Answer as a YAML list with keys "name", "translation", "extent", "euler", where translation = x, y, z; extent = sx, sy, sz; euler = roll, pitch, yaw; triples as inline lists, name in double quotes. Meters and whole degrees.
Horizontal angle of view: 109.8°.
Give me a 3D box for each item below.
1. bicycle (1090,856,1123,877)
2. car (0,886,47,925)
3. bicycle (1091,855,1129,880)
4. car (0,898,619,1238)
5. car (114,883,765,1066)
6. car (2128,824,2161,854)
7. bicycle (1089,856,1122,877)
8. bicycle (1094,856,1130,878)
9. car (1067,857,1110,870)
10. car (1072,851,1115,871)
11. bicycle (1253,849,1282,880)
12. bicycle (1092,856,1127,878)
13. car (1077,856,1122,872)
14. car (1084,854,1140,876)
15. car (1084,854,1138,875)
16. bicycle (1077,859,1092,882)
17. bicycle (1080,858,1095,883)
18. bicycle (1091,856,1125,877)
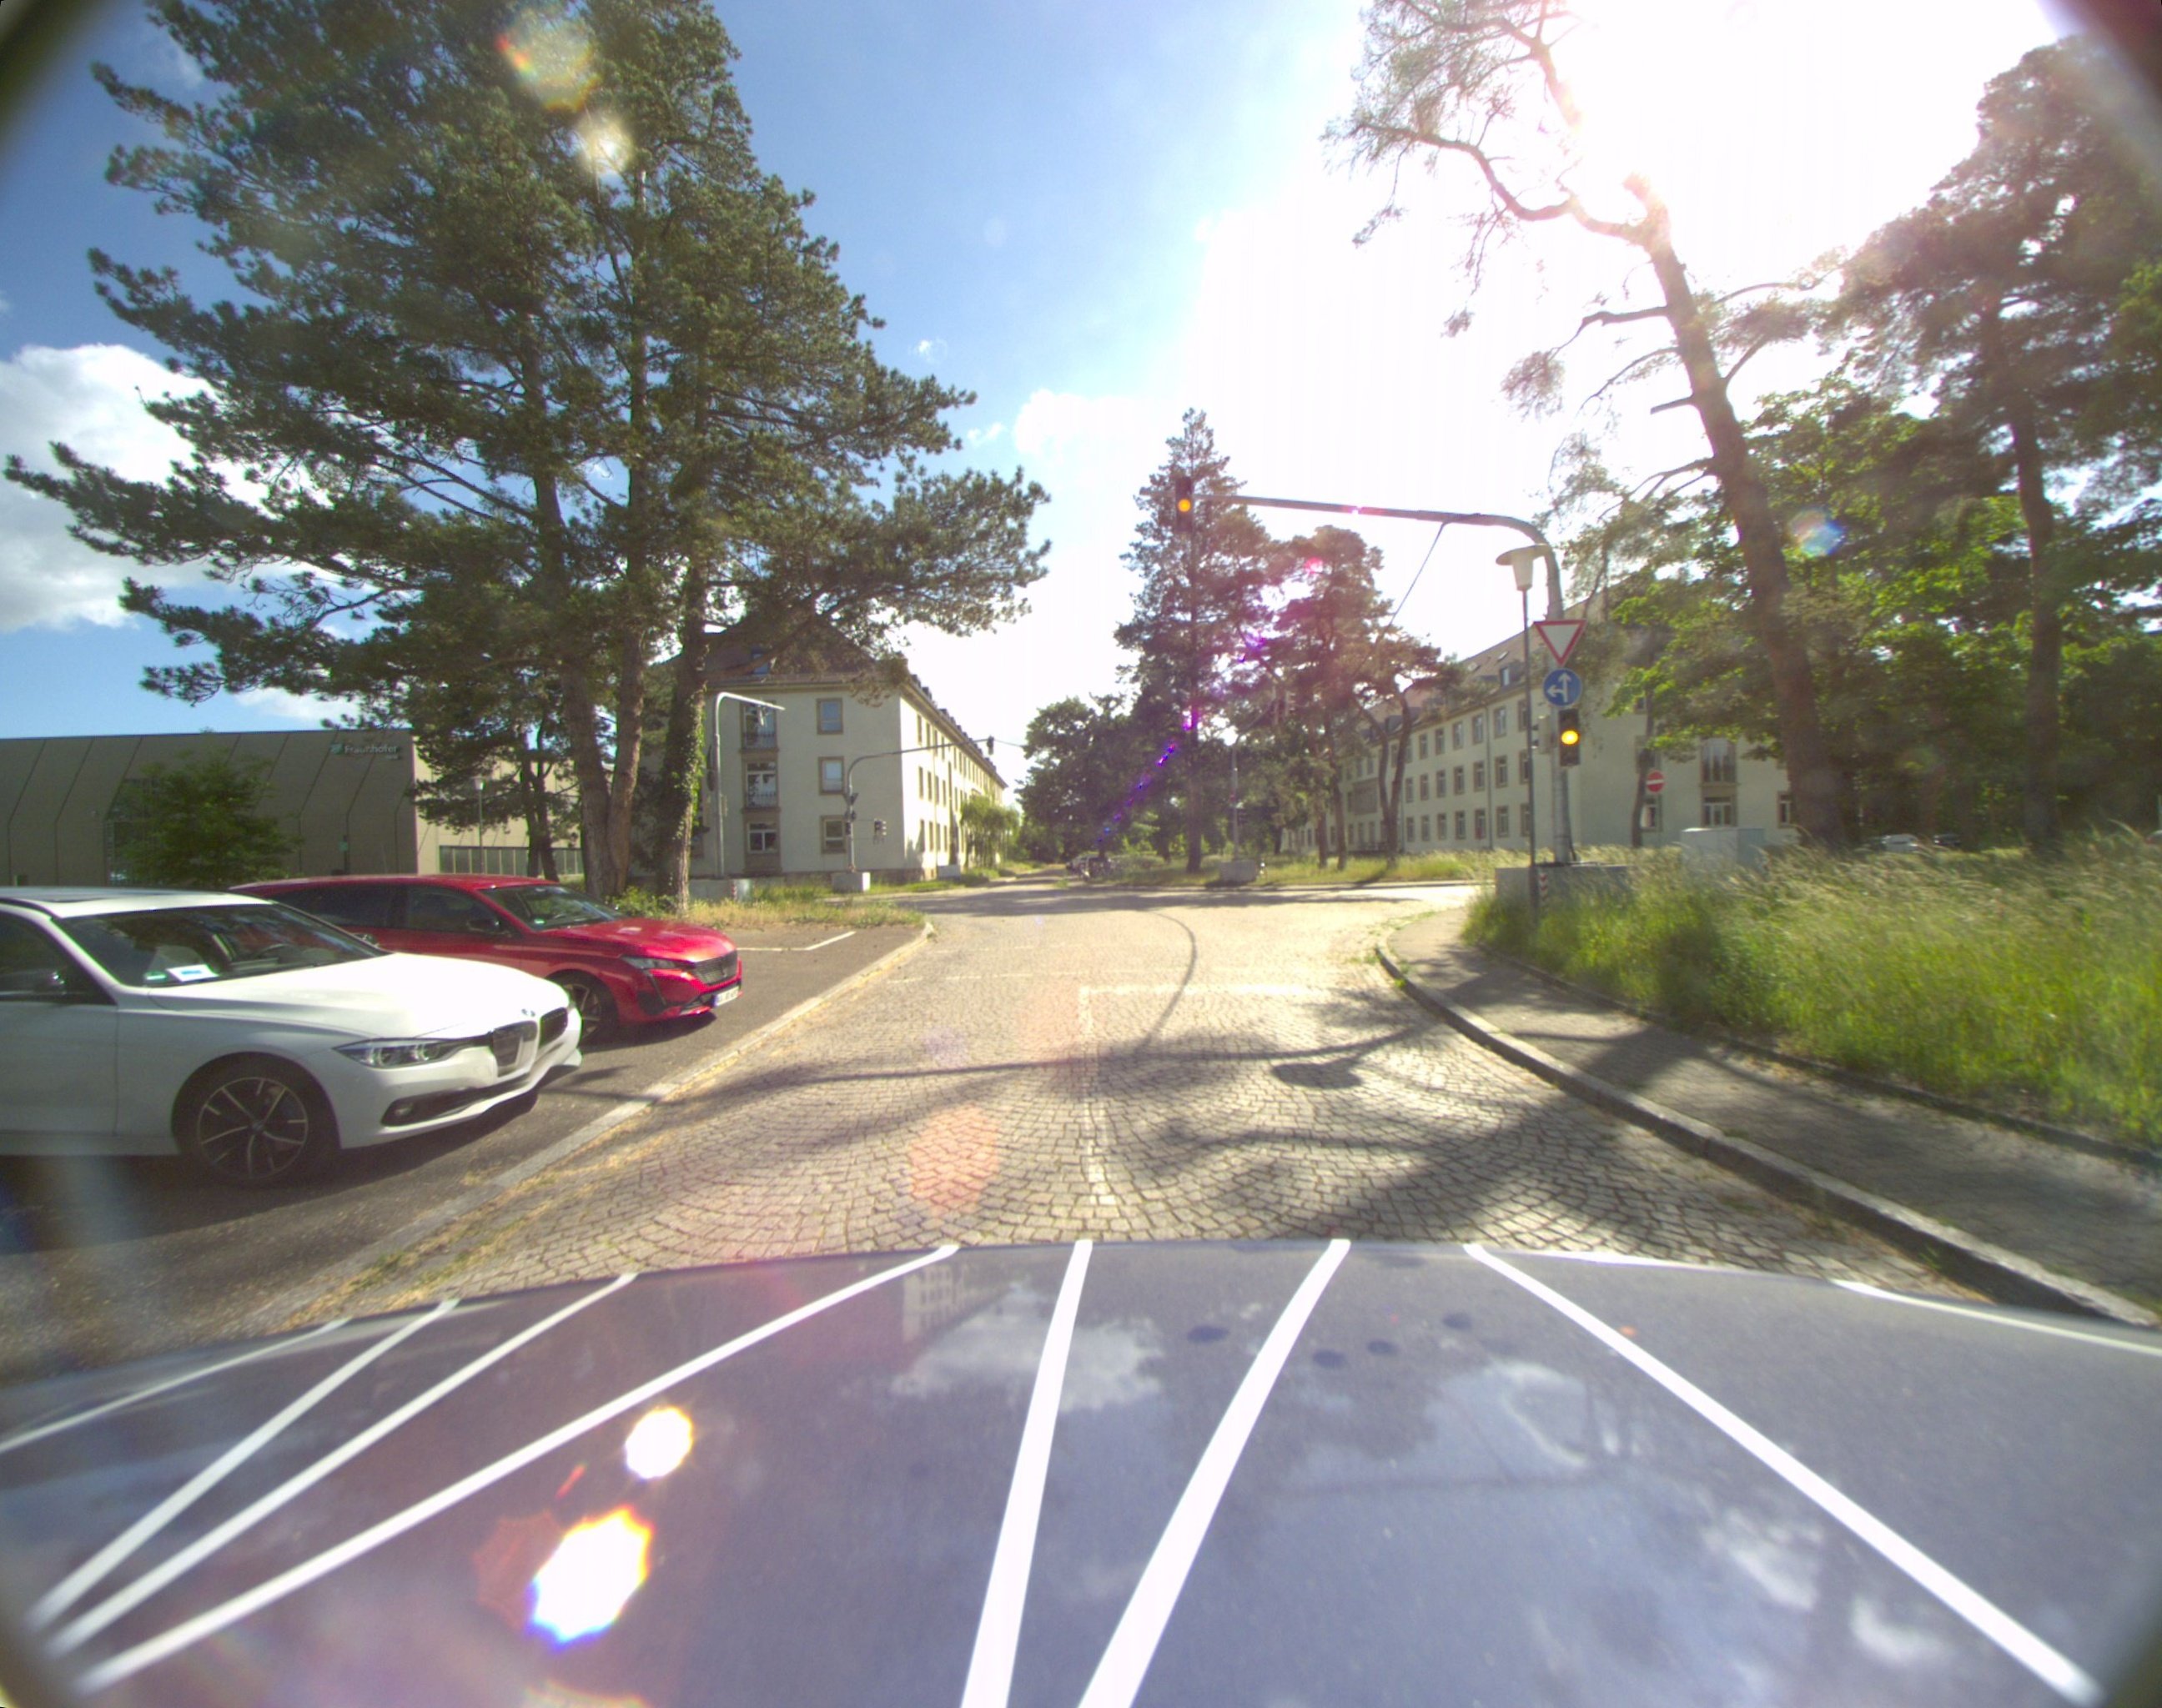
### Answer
- name: "bicycle"
  translation: [1.725, 0.828, 51.011]
  extent: [2.114, 1.276, 0.621]
  euler: [-4, 1, -5]
- name: "car"
  translation: [-48.189, 2.388, 32.610]
  extent: [1.860, 1.555, 4.058]
  euler: [-2, 3, 2]
- name: "bicycle"
  translation: [1.772, 0.815, 46.184]
  extent: [2.114, 1.276, 0.621]
  euler: [-7, 1, -3]
- name: "car"
  translation: [-5.550, 1.058, 4.439]
  extent: [4.525, 1.456, 1.838]
  euler: [0, 1, -3]
- name: "car"
  translation: [-5.684, 1.043, 7.251]
  extent: [4.549, 1.413, 1.894]
  euler: [1, 1, -1]
- name: "car"
  translation: [58.291, -0.843, 39.939]
  extent: [4.105, 1.571, 1.720]
  euler: [-1, 1, 1]
- name: "bicycle"
  translation: [1.655, 0.832, 51.854]
  extent: [2.114, 1.276, 0.621]
  euler: [-4, 1, -5]
- name: "bicycle"
  translation: [1.983, 0.828, 48.437]
  extent: [2.114, 1.276, 0.621]
  euler: [-4, 1, -7]
- name: "car"
  translation: [0.793, 0.972, 81.538]
  extent: [4.227, 1.294, 1.816]
  euler: [-1, 1, -10]
- name: "car"
  translation: [1.276, 0.677, 78.387]
  extent: [4.227, 1.903, 1.816]
  euler: [-1, 1, -10]
- name: "bicycle"
  translation: [8.250, 0.455, 33.670]
  extent: [0.621, 1.276, 2.114]
  euler: [-5, 0, -2]
- name: "bicycle"
  translation: [1.861, 0.837, 49.265]
  extent: [2.114, 1.276, 0.621]
  euler: [-4, 1, -6]
- name: "car"
  translation: [1.771, 0.955, 72.775]
  extent: [4.044, 1.355, 1.817]
  euler: [-1, 1, -7]
- name: "car"
  translation: [2.343, 0.830, 58.019]
  extent: [4.045, 1.493, 1.816]
  euler: [-1, 1, -8]
- name: "car"
  translation: [2.359, 0.840, 61.044]
  extent: [4.045, 1.514, 1.816]
  euler: [-1, 1, -8]
- name: "bicycle"
  translation: [0.186, 0.955, 45.006]
  extent: [0.621, 1.276, 2.114]
  euler: [-4, 1, -5]
- name: "bicycle"
  translation: [0.359, 0.908, 42.832]
  extent: [0.621, 1.342, 2.114]
  euler: [-4, 1, -5]
- name: "bicycle"
  translation: [1.783, 0.832, 50.108]
  extent: [2.114, 1.276, 0.621]
  euler: [-4, 1, -5]
